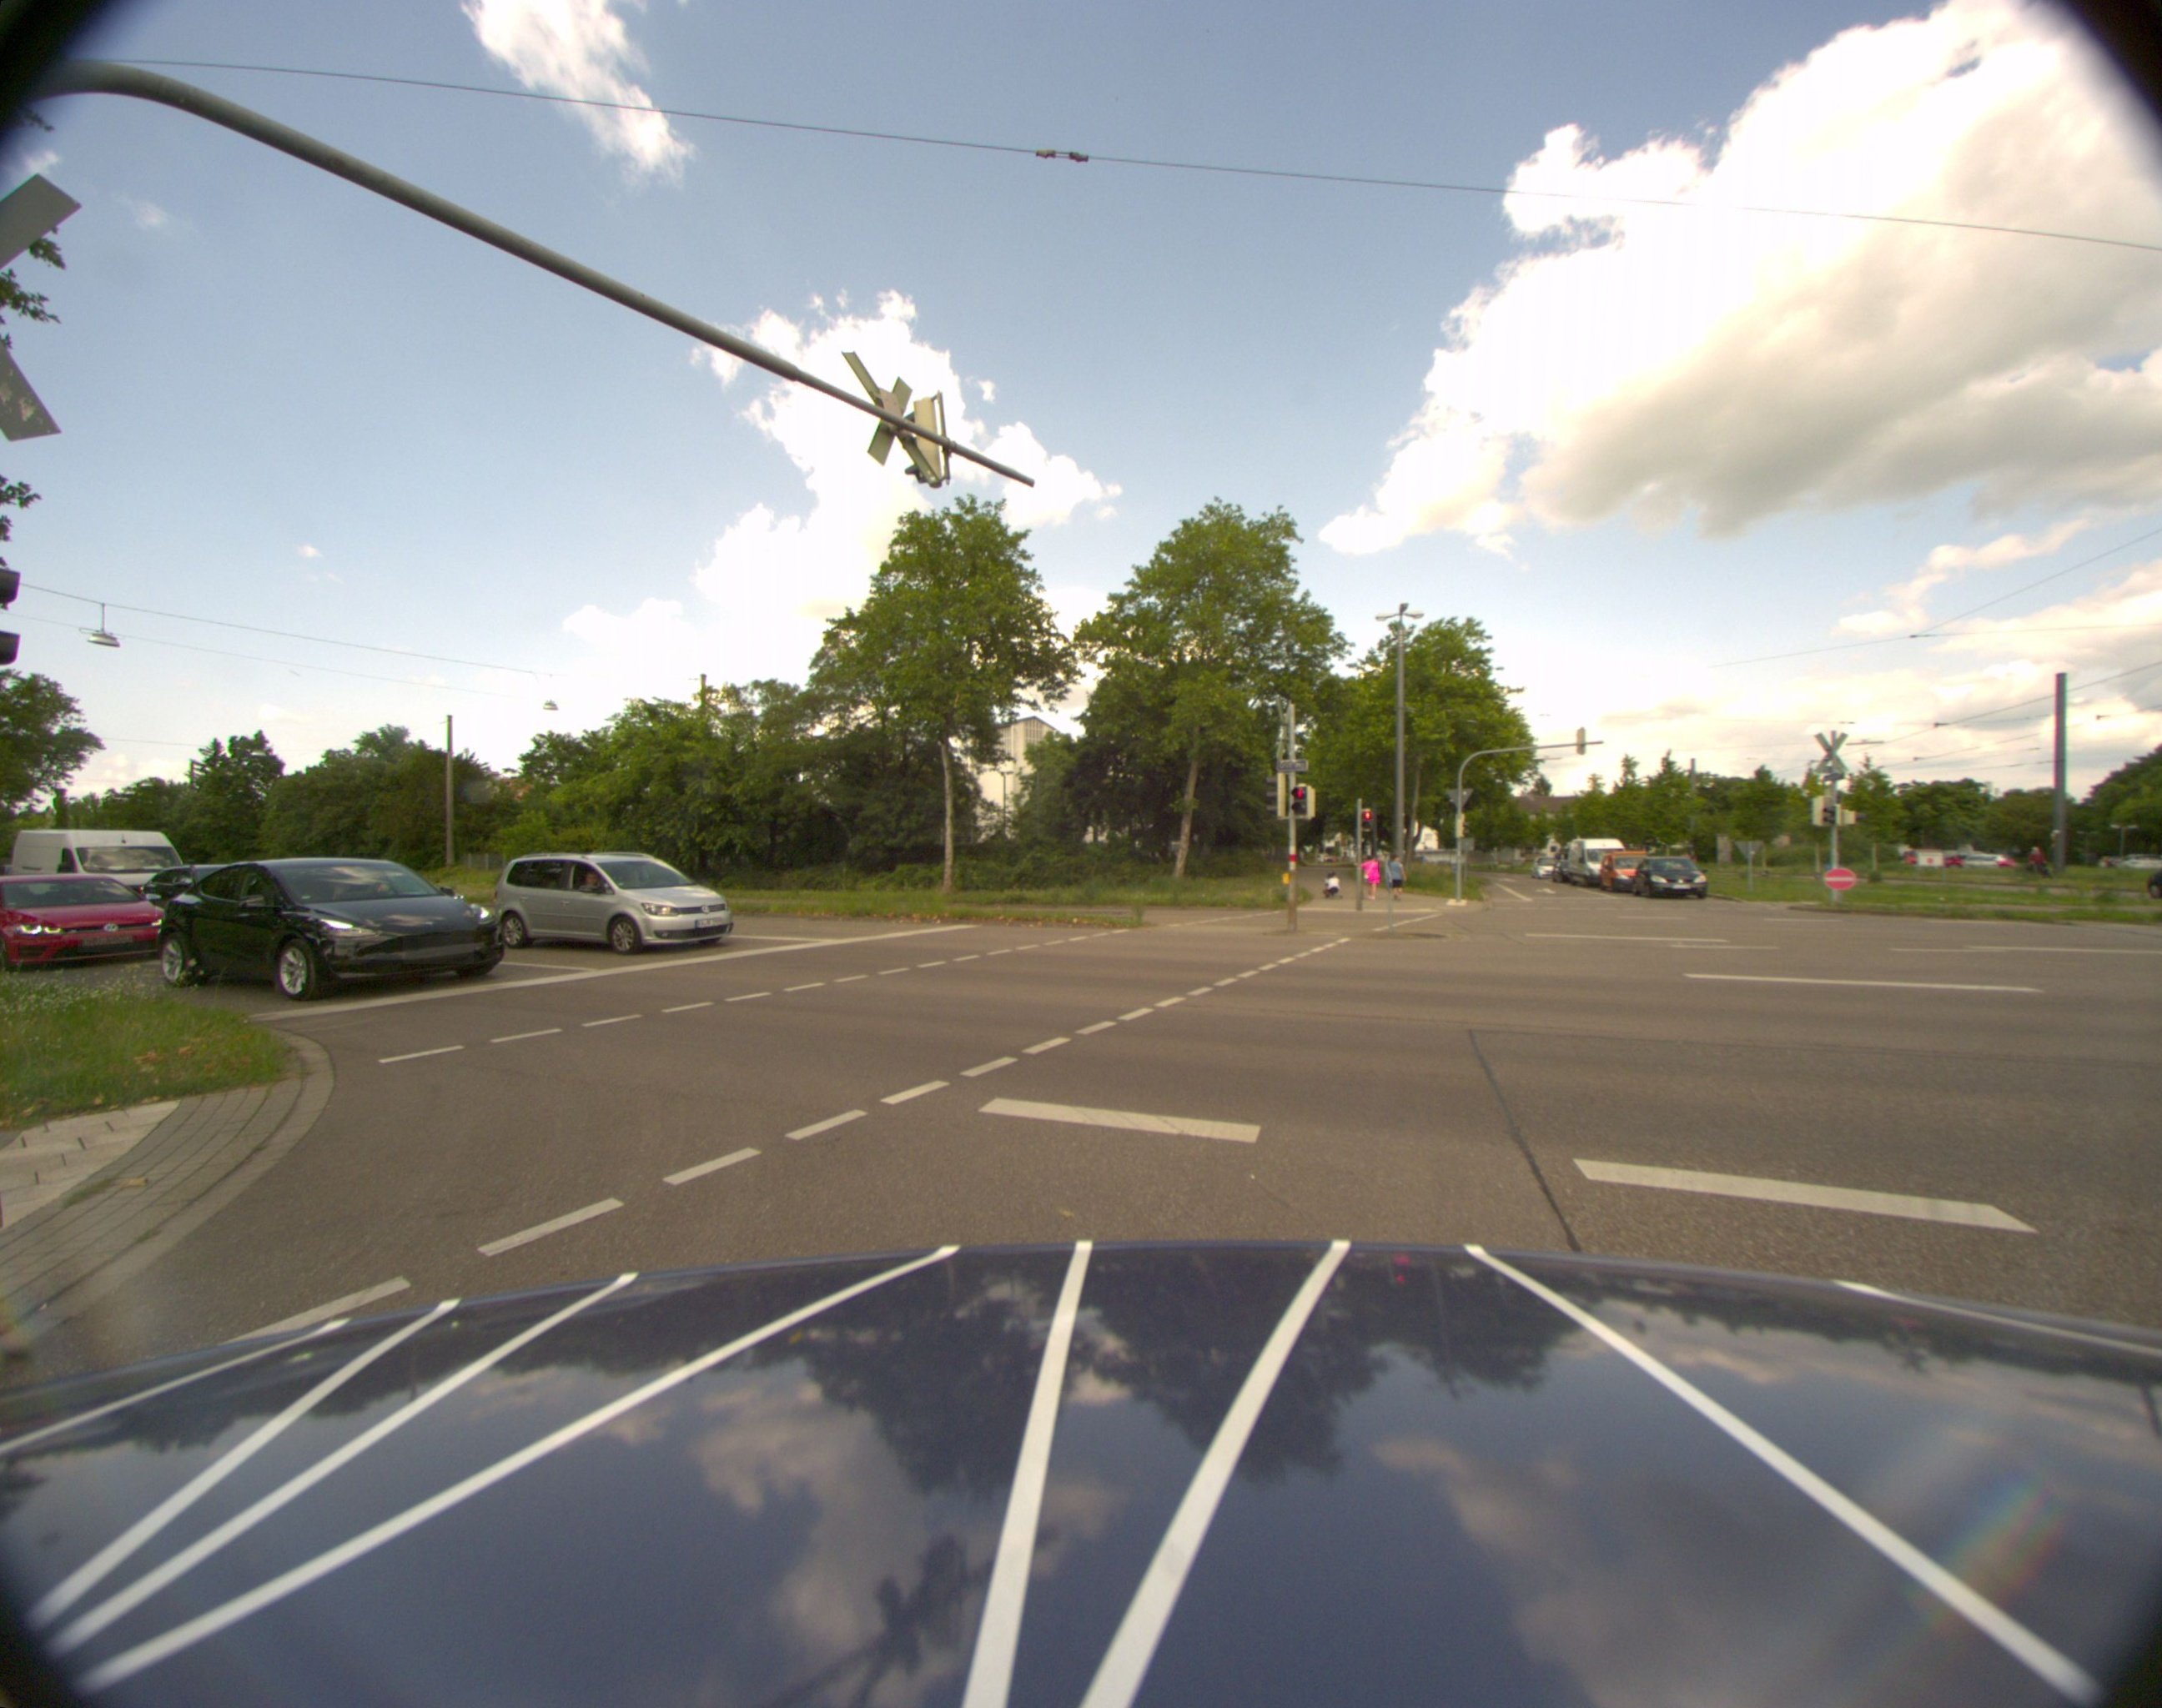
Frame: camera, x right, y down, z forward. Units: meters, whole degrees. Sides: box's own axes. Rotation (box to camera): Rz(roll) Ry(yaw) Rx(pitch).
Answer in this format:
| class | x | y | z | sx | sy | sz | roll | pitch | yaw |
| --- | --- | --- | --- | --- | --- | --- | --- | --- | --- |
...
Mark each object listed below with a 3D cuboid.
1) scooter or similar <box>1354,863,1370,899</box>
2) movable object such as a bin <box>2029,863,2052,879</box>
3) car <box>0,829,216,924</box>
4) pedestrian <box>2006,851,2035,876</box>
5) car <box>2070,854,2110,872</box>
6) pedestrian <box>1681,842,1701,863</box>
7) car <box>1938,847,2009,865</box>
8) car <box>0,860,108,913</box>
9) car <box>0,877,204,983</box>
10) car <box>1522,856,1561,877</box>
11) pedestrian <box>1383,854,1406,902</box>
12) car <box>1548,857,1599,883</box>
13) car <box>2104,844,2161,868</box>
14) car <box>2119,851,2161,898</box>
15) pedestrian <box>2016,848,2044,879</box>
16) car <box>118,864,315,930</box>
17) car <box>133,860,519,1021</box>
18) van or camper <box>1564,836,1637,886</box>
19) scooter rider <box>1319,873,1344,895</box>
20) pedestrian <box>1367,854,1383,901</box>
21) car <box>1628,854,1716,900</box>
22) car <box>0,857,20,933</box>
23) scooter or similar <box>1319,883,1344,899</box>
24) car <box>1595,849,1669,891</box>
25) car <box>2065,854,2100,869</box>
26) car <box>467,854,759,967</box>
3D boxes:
| class | x | y | z | sx | sy | sz | roll | pitch | yaw |
| --- | --- | --- | --- | --- | --- | --- | --- | --- | --- |
| scooter or similar | 9.826 | 0.938 | 26.557 | 0.321 | 1.225 | 0.777 | -2 | 0 | 33 |
| movable object such as a bin | 50.228 | 0.905 | 39.762 | 0.578 | 0.806 | 0.460 | -2 | 0 | 9 |
| car | -28.344 | 0.573 | 22.101 | 5.919 | 2.516 | 2.230 | 0 | 2 | 22 |
| pedestrian | 52.021 | 0.515 | 42.071 | 0.650 | 1.346 | 0.753 | -2 | 0 | 15 |
| car | 99.003 | 0.862 | 74.587 | 4.399 | 1.630 | 1.994 | 0 | 0 | -42 |
| pedestrian | 59.921 | -0.146 | 74.665 | 1.105 | 2.002 | 1.178 | 0 | 1 | 9 |
| car | 78.390 | 0.202 | 66.816 | 2.004 | 1.521 | 3.988 | -1 | 0 | -42 |
| car | -35.465 | 1.051 | 25.849 | 4.146 | 1.609 | 1.847 | 0 | 1 | 23 |
| car | -16.970 | 1.139 | 12.567 | 4.491 | 1.383 | 1.804 | 0 | 2 | 22 |
| car | 32.952 | 0.858 | 54.519 | 1.807 | 1.423 | 4.390 | 0 | 0 | 23 |
| pedestrian | 10.626 | 0.811 | 25.729 | 0.631 | 1.610 | 0.612 | -1 | 1 | 31 |
| car | 30.207 | 0.933 | 46.754 | 1.807 | 1.423 | 4.475 | 0 | 1 | 22 |
| car | 74.726 | 0.152 | 53.972 | 4.399 | 1.630 | 1.994 | 0 | 0 | -42 |
| car | 38.177 | 0.717 | 25.841 | 1.723 | 1.607 | 4.007 | 0 | 0 | 26 |
| pedestrian | 50.292 | 0.508 | 40.279 | 0.612 | 1.635 | 0.638 | -2 | 0 | 8 |
| car | -21.051 | 0.979 | 18.516 | 4.333 | 1.367 | 1.767 | 0 | 2 | 22 |
| car | -9.782 | 0.935 | 9.844 | 4.568 | 1.643 | 1.934 | 0 | 2 | 24 |
| van or camper | 27.798 | 0.375 | 40.880 | 1.977 | 2.509 | 6.047 | 0 | 0 | 22 |
| scooter rider | 8.670 | 1.040 | 26.267 | 0.610 | 0.724 | 0.861 | -2 | -1 | 32 |
| pedestrian | 10.168 | 0.793 | 26.283 | 0.420 | 1.610 | 0.597 | -1 | 1 | 31 |
| car | 22.357 | 0.811 | 28.918 | 1.731 | 1.621 | 4.059 | 0 | 0 | 24 |
| car | -24.569 | 0.881 | 15.815 | 4.491 | 1.561 | 1.804 | 0 | 2 | 22 |
| scooter or similar | 8.674 | 1.285 | 26.265 | 0.610 | 0.508 | 0.859 | -2 | -1 | 32 |
| car | 25.021 | 0.676 | 34.667 | 1.879 | 1.789 | 4.377 | 0 | 0 | 24 |
| car | 115.335 | 0.844 | 87.540 | 4.399 | 1.630 | 1.994 | 0 | 0 | -42 |
| car | -8.071 | 0.860 | 13.133 | 4.491 | 1.643 | 1.933 | 0 | 2 | 22 |
